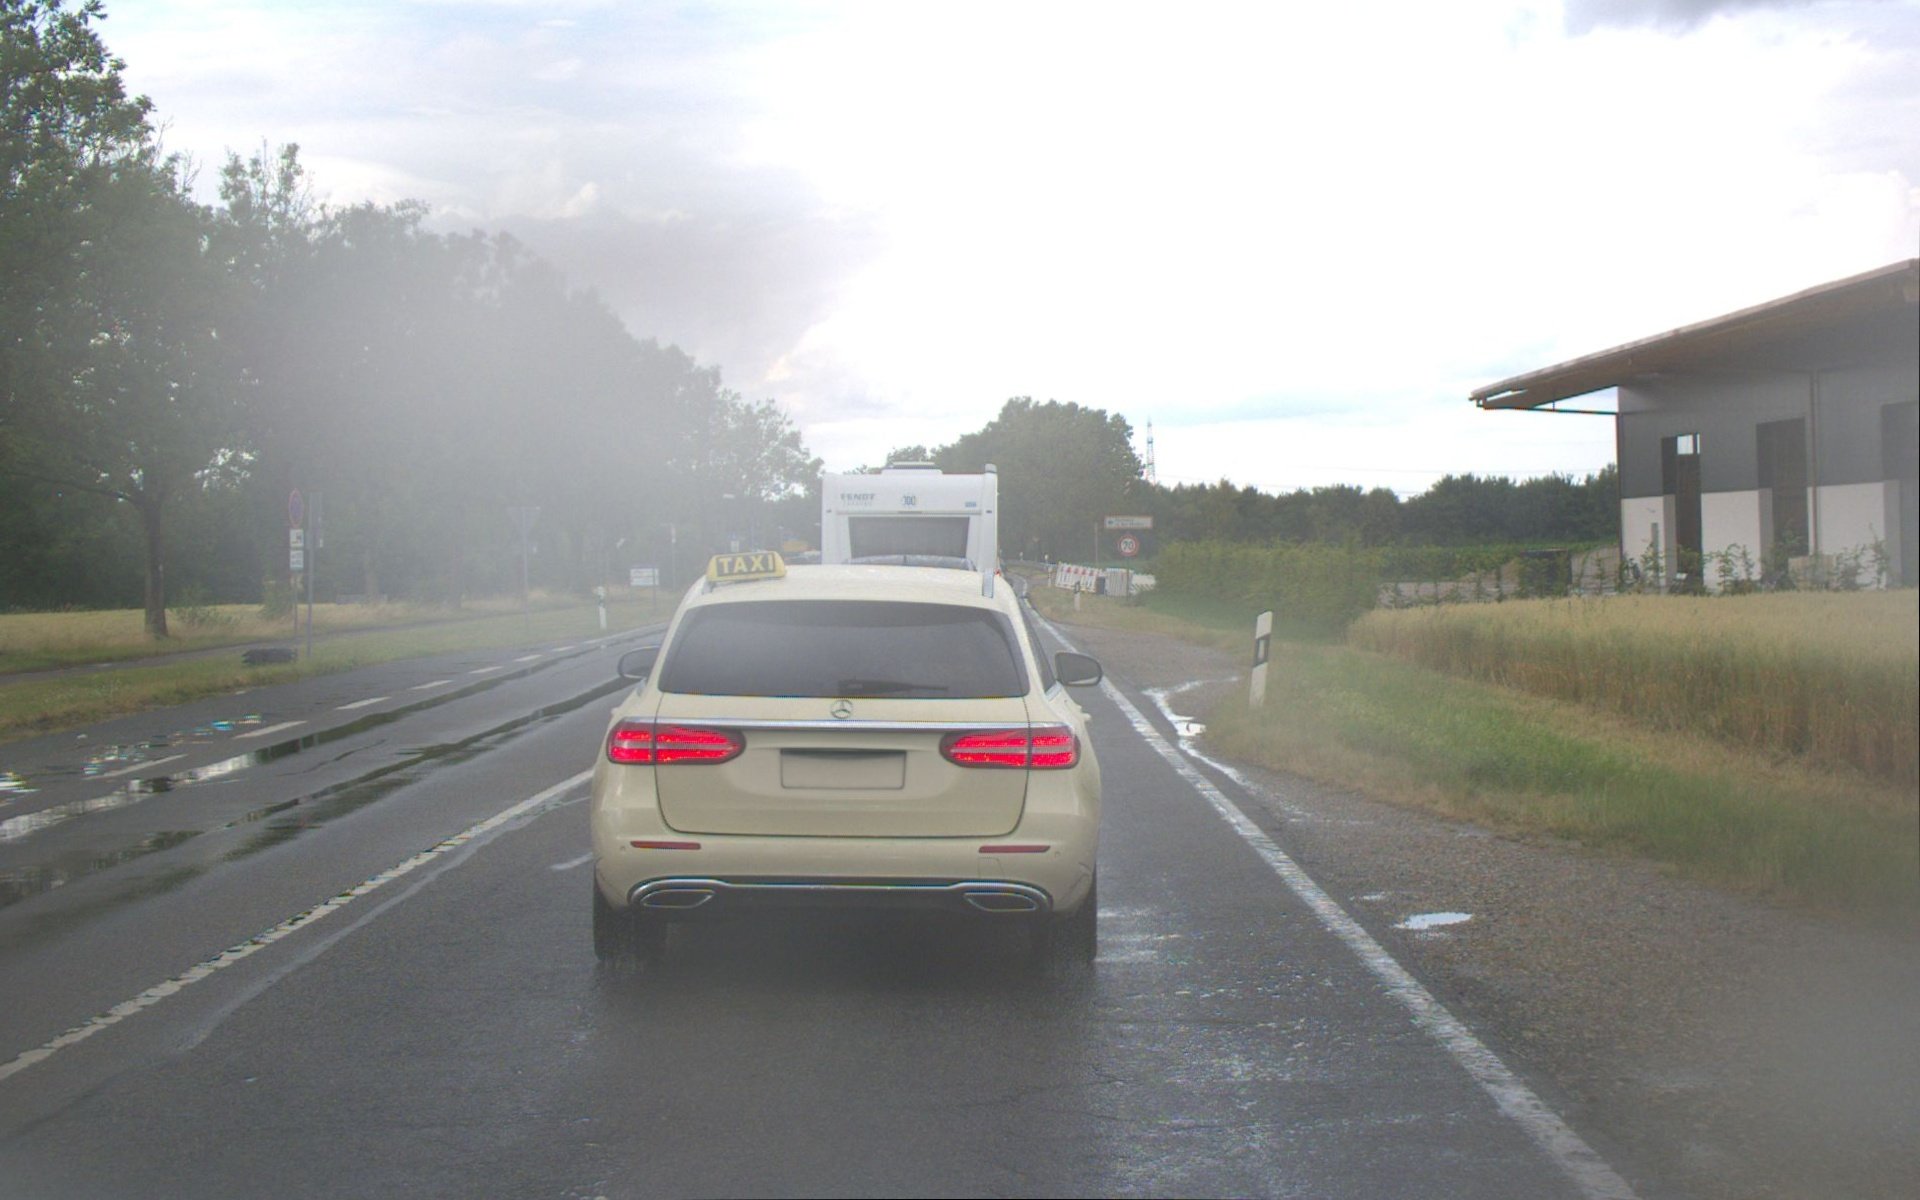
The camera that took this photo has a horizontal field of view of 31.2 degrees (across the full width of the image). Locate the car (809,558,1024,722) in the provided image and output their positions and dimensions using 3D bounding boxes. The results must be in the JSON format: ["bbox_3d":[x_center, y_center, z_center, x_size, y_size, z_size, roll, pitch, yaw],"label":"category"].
[{"bbox_3d":[-0.405,0.327,32.268,1.894,1.424,3.928,0,1,-1],"label":"car"}]

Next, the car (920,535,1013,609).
[{"bbox_3d":[0.171,-0.629,76.249,1.894,1.585,3.928,0,1,2],"label":"car"}]

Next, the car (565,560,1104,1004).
[{"bbox_3d":[-0.409,0.585,13.501,1.797,1.459,4.031,0,1,0],"label":"car"}]

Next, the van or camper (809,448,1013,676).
[{"bbox_3d":[-0.576,-0.523,46.678,2.497,2.821,5.934,-2,1,1],"label":"van or camper"}]
